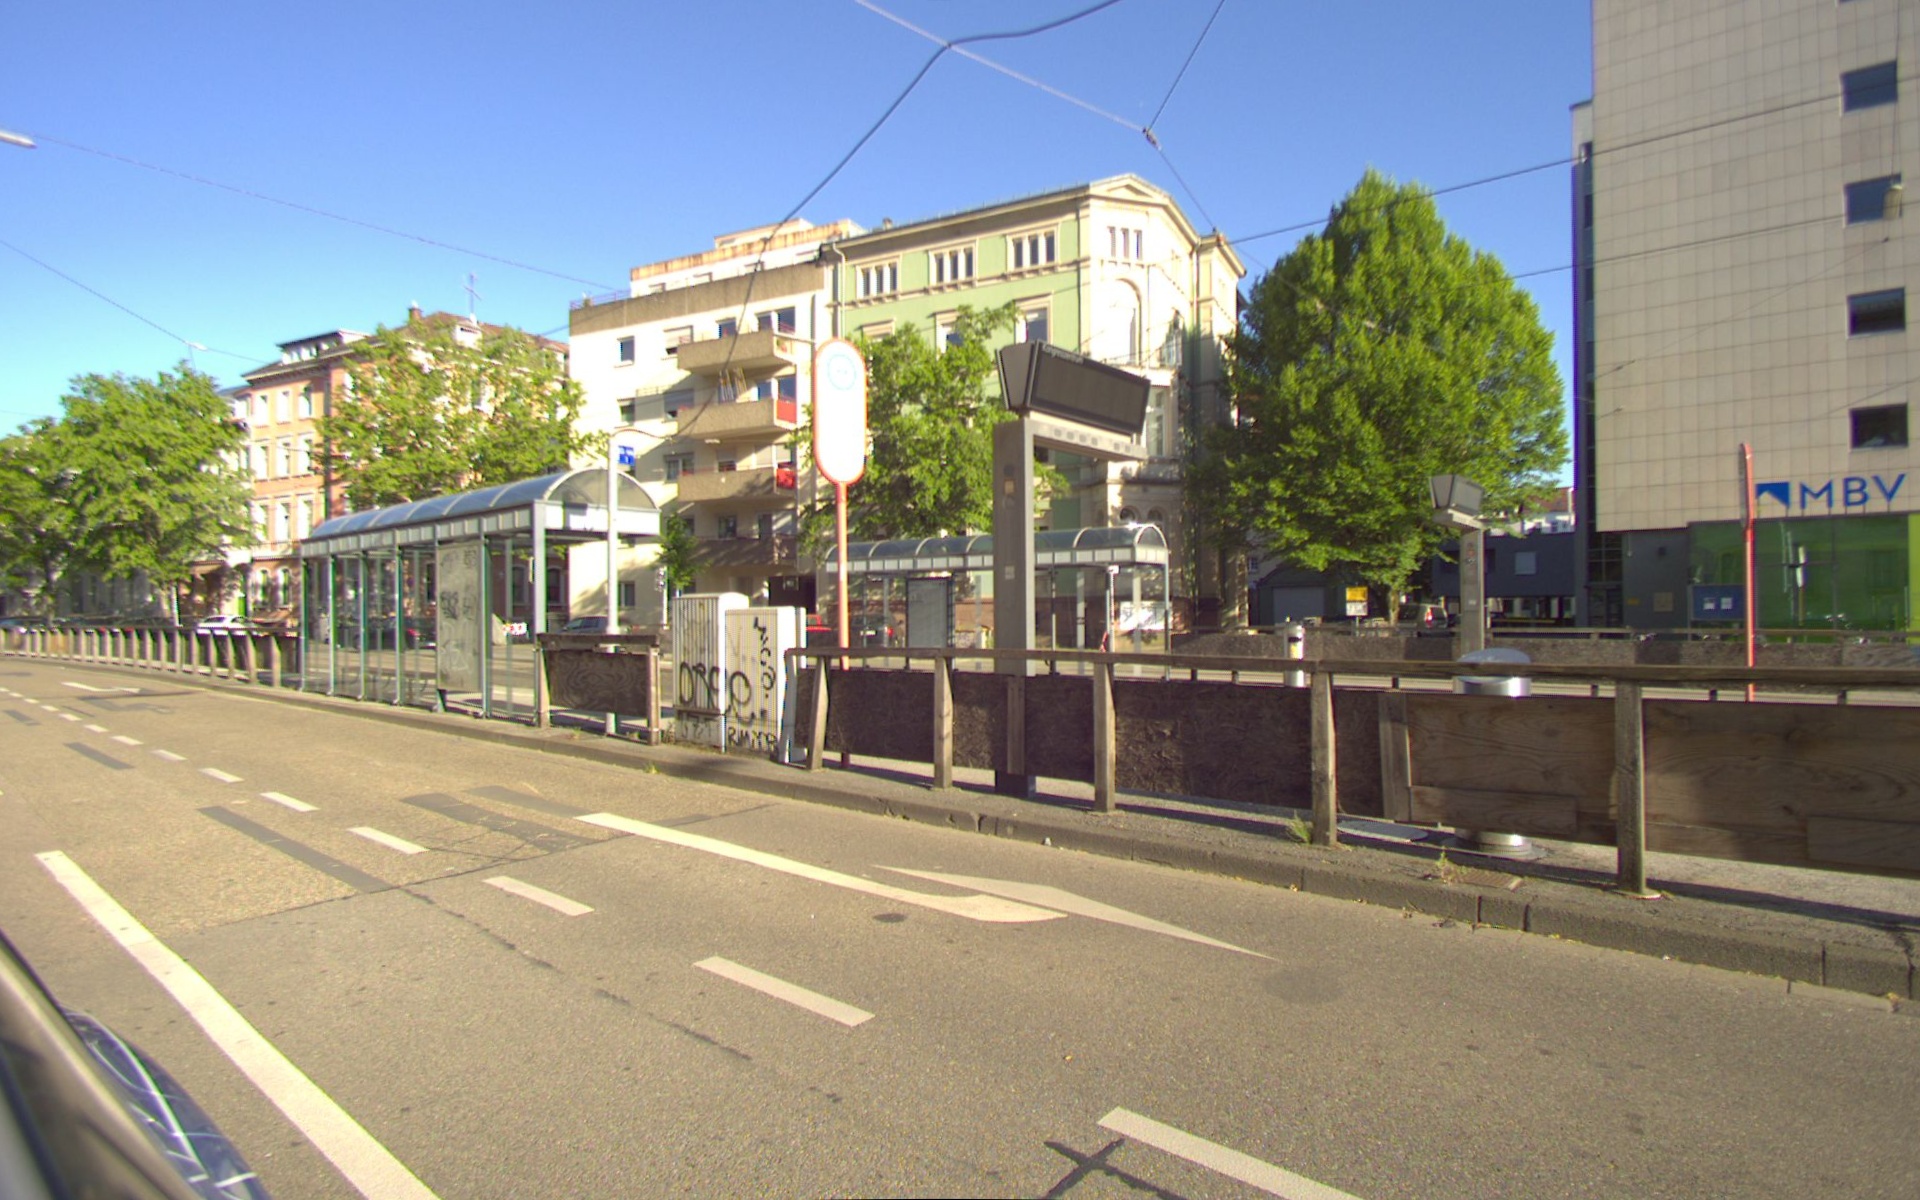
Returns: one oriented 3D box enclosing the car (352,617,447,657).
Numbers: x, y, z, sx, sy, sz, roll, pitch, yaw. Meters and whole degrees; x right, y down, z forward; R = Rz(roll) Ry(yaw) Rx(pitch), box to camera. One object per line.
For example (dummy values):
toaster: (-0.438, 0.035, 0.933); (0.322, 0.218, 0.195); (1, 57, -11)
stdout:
car: (-22.071, 1.449, 39.830); (3.988, 1.500, 1.629); (-1, -2, 33)

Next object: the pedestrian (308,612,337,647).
pedestrian: (-31.882, 1.470, 50.633); (1.016, 1.733, 0.846); (-1, -2, 32)

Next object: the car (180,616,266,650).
car: (-39.455, 1.756, 54.313); (1.825, 1.721, 4.130); (0, -1, -5)

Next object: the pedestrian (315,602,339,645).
pedestrian: (-33.031, 1.233, 52.789); (0.753, 2.224, 0.804); (-1, -2, 30)

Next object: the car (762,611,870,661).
car: (-4.851, 1.204, 34.566); (1.754, 1.594, 3.965); (-1, -1, 26)

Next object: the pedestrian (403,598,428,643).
pedestrian: (-27.017, 1.031, 50.183); (0.753, 2.224, 0.804); (-1, -2, 30)

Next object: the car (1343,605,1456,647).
car: (15.780, 0.893, 36.454); (1.544, 1.423, 3.430); (-1, 0, -38)

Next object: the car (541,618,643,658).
car: (-14.037, 1.423, 38.551); (3.725, 1.438, 1.637); (-1, -1, 29)

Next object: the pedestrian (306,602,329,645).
pedestrian: (-34.230, 1.248, 53.922); (0.755, 2.224, 0.803); (-1, -2, 36)

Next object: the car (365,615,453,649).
car: (-23.814, 1.372, 43.715); (3.986, 1.407, 1.592); (-1, -2, 32)

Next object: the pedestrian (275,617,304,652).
pedestrian: (-32.281, 1.660, 48.699); (0.888, 1.641, 0.859); (-1, -2, 31)

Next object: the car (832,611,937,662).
car: (-2.417, 1.173, 33.518); (1.754, 1.594, 3.965); (-1, -1, 26)

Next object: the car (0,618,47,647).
car: (-48.457, 1.648, 51.844); (3.870, 1.419, 1.650); (-1, -2, 35)

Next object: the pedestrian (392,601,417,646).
pedestrian: (-27.854, 1.165, 50.778); (0.753, 2.224, 0.804); (-1, -2, 30)
